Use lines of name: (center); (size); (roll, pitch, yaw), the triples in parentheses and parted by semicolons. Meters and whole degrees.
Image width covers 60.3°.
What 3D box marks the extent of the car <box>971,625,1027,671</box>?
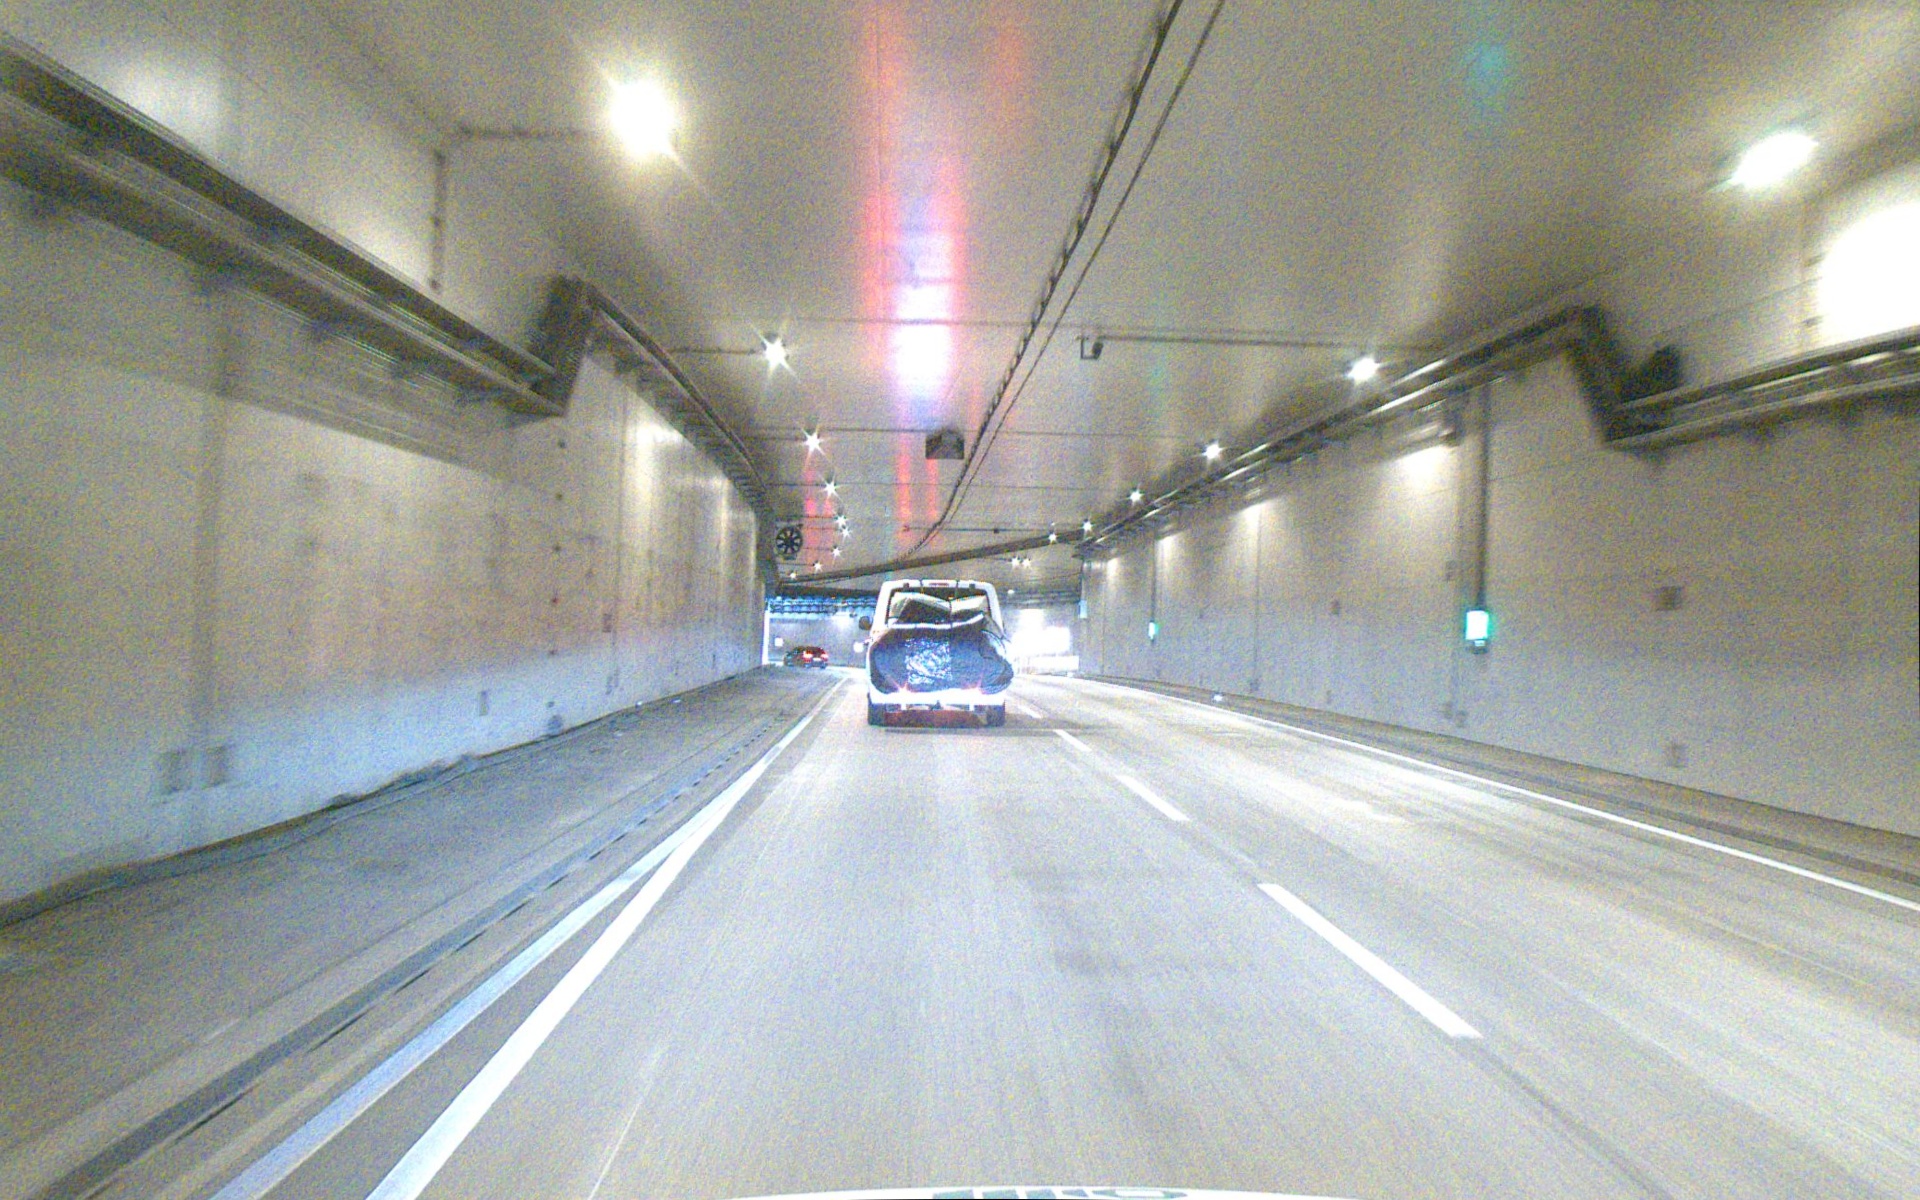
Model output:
car: (1.437, 1.788, 61.713); (1.573, 1.659, 3.349); (0, -1, -8)

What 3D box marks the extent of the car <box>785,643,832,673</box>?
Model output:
car: (-9.418, 3.570, 102.664); (1.797, 1.659, 3.818); (4, -2, -22)

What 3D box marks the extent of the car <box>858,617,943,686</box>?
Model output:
car: (-1.367, 1.134, 36.816); (1.572, 1.420, 3.271); (2, -1, -7)

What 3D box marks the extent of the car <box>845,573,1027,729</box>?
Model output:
car: (-0.467, 0.646, 22.784); (1.955, 1.880, 5.293); (1, -1, -7)
